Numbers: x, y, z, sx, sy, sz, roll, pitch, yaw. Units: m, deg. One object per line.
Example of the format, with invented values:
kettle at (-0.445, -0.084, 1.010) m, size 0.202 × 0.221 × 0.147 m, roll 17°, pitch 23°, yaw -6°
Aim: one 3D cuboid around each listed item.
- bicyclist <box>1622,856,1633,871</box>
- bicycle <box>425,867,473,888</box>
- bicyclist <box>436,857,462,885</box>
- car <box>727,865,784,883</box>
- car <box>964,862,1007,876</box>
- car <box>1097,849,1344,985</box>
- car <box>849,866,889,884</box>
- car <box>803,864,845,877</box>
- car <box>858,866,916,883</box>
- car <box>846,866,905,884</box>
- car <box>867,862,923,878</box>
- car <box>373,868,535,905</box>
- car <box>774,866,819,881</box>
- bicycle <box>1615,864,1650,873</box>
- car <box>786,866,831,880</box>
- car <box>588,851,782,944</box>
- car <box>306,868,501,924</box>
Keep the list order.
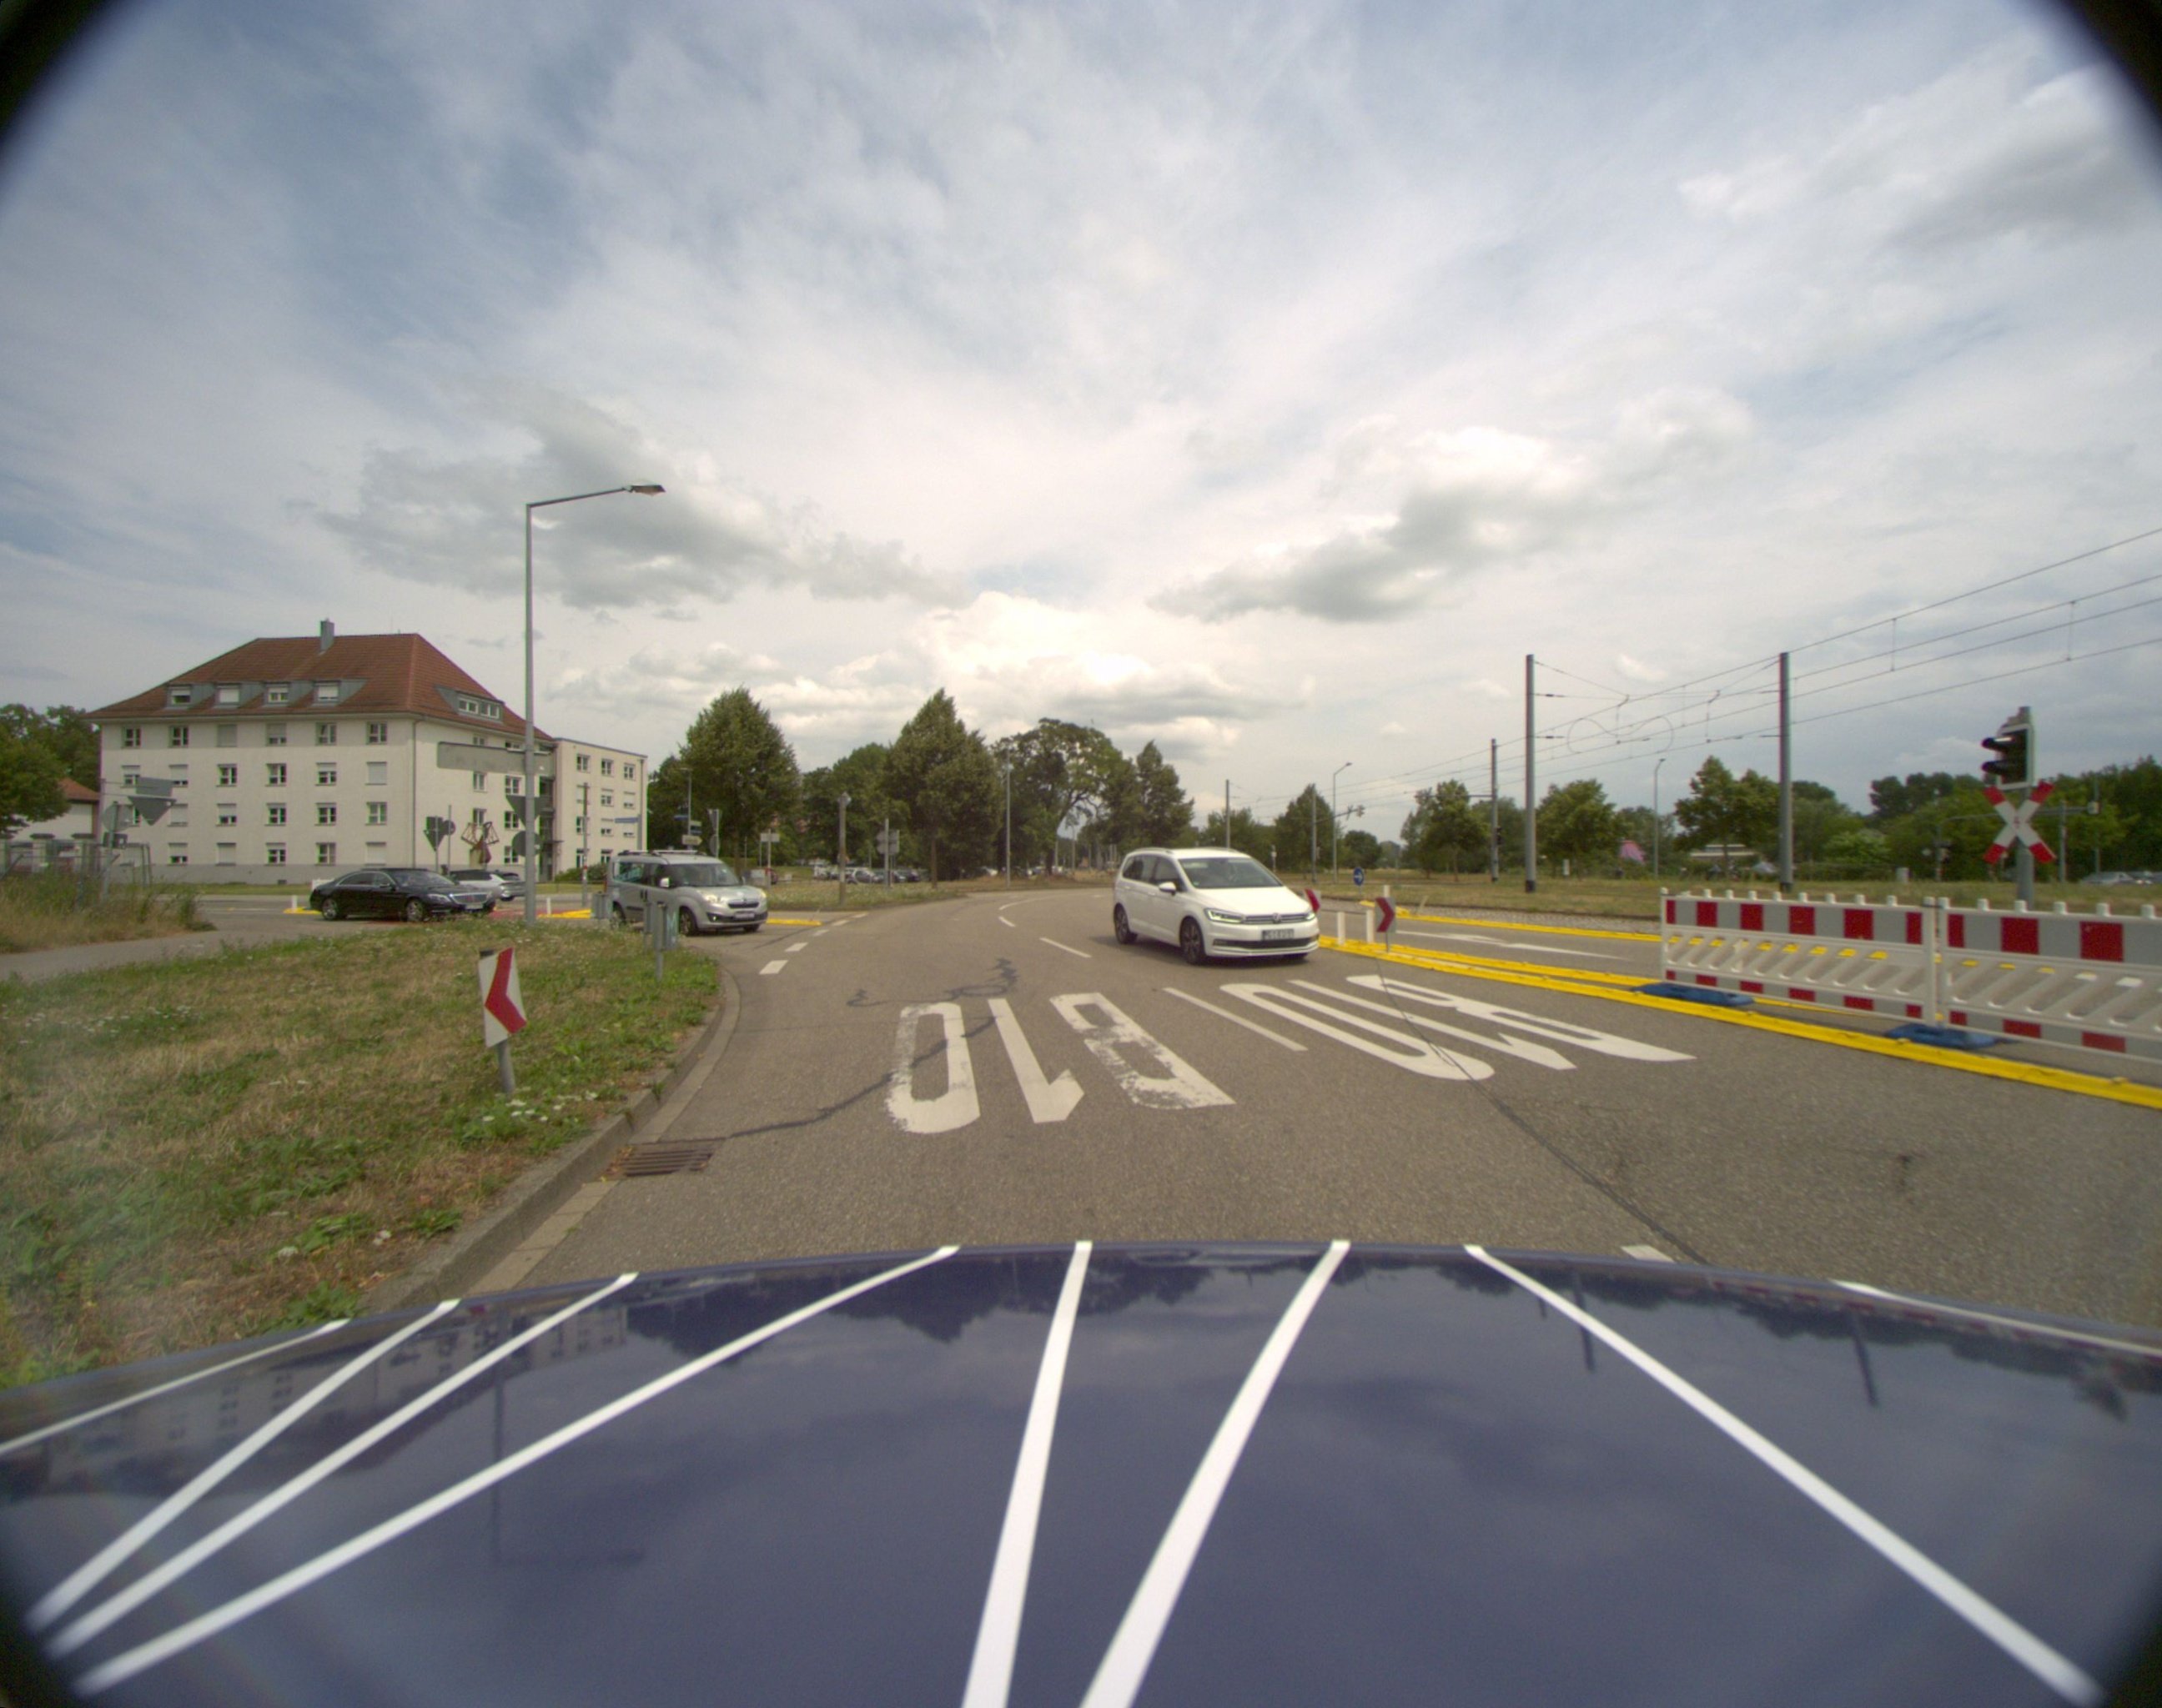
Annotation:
bicyclist at (53.046, 0.936, 73.728) m, size 0.866 × 1.401 × 0.672 m, roll 0°, pitch 0°, yaw -40°
bicycle at (-31.335, 1.154, 37.695) m, size 0.601 × 1.040 × 1.831 m, roll 0°, pitch -1°, yaw 13°
bicyclist at (-31.342, 0.841, 37.680) m, size 0.601 × 1.415 × 0.804 m, roll 0°, pitch 0°, yaw 13°
car at (-30.145, 1.851, 70.461) m, size 4.401 × 1.588 × 2.001 m, roll 0°, pitch 0°, yaw 7°
car at (-13.495, 2.113, 107.526) m, size 5.563 × 2.044 × 2.202 m, roll 0°, pitch 0°, yaw 6°
car at (1.899, 0.806, 11.915) m, size 1.940 × 1.656 × 4.348 m, roll -2°, pitch 0°, yaw -18°
car at (-18.193, 1.837, 65.235) m, size 2.914 × 1.414 × 1.484 m, roll -2°, pitch -1°, yaw 0°
car at (-28.528, 1.820, 84.314) m, size 4.002 × 1.459 × 1.818 m, roll 0°, pitch 0°, yaw 5°
car at (-17.987, 1.887, 70.498) m, size 4.882 × 1.462 × 1.834 m, roll 0°, pitch 0°, yaw 6°
car at (-18.324, 1.880, 67.788) m, size 4.702 × 1.462 × 1.834 m, roll -2°, pitch 0°, yaw 4°
car at (-17.908, 1.522, 73.091) m, size 4.882 × 1.462 × 1.834 m, roll 0°, pitch 0°, yaw 6°
car at (-26.995, 1.375, 32.883) m, size 5.182 × 1.473 × 1.999 m, roll 0°, pitch 0°, yaw -5°
car at (-29.282, 2.024, 78.343) m, size 4.002 × 1.459 × 1.616 m, roll 0°, pitch 0°, yaw 5°
bicycle at (53.298, 1.390, 73.428) m, size 0.866 × 0.850 × 2.651 m, roll 0°, pitch -1°, yaw -40°
car at (-28.827, 2.042, 80.442) m, size 4.002 × 1.459 × 1.818 m, roll 0°, pitch 0°, yaw 5°
car at (-9.295, 0.916, 17.745) m, size 4.572 × 1.936 × 1.815 m, roll 0°, pitch 0°, yaw 29°
car at (-19.727, 1.189, 22.175) m, size 4.860 × 1.495 × 1.821 m, roll -1°, pitch 0°, yaw 14°
